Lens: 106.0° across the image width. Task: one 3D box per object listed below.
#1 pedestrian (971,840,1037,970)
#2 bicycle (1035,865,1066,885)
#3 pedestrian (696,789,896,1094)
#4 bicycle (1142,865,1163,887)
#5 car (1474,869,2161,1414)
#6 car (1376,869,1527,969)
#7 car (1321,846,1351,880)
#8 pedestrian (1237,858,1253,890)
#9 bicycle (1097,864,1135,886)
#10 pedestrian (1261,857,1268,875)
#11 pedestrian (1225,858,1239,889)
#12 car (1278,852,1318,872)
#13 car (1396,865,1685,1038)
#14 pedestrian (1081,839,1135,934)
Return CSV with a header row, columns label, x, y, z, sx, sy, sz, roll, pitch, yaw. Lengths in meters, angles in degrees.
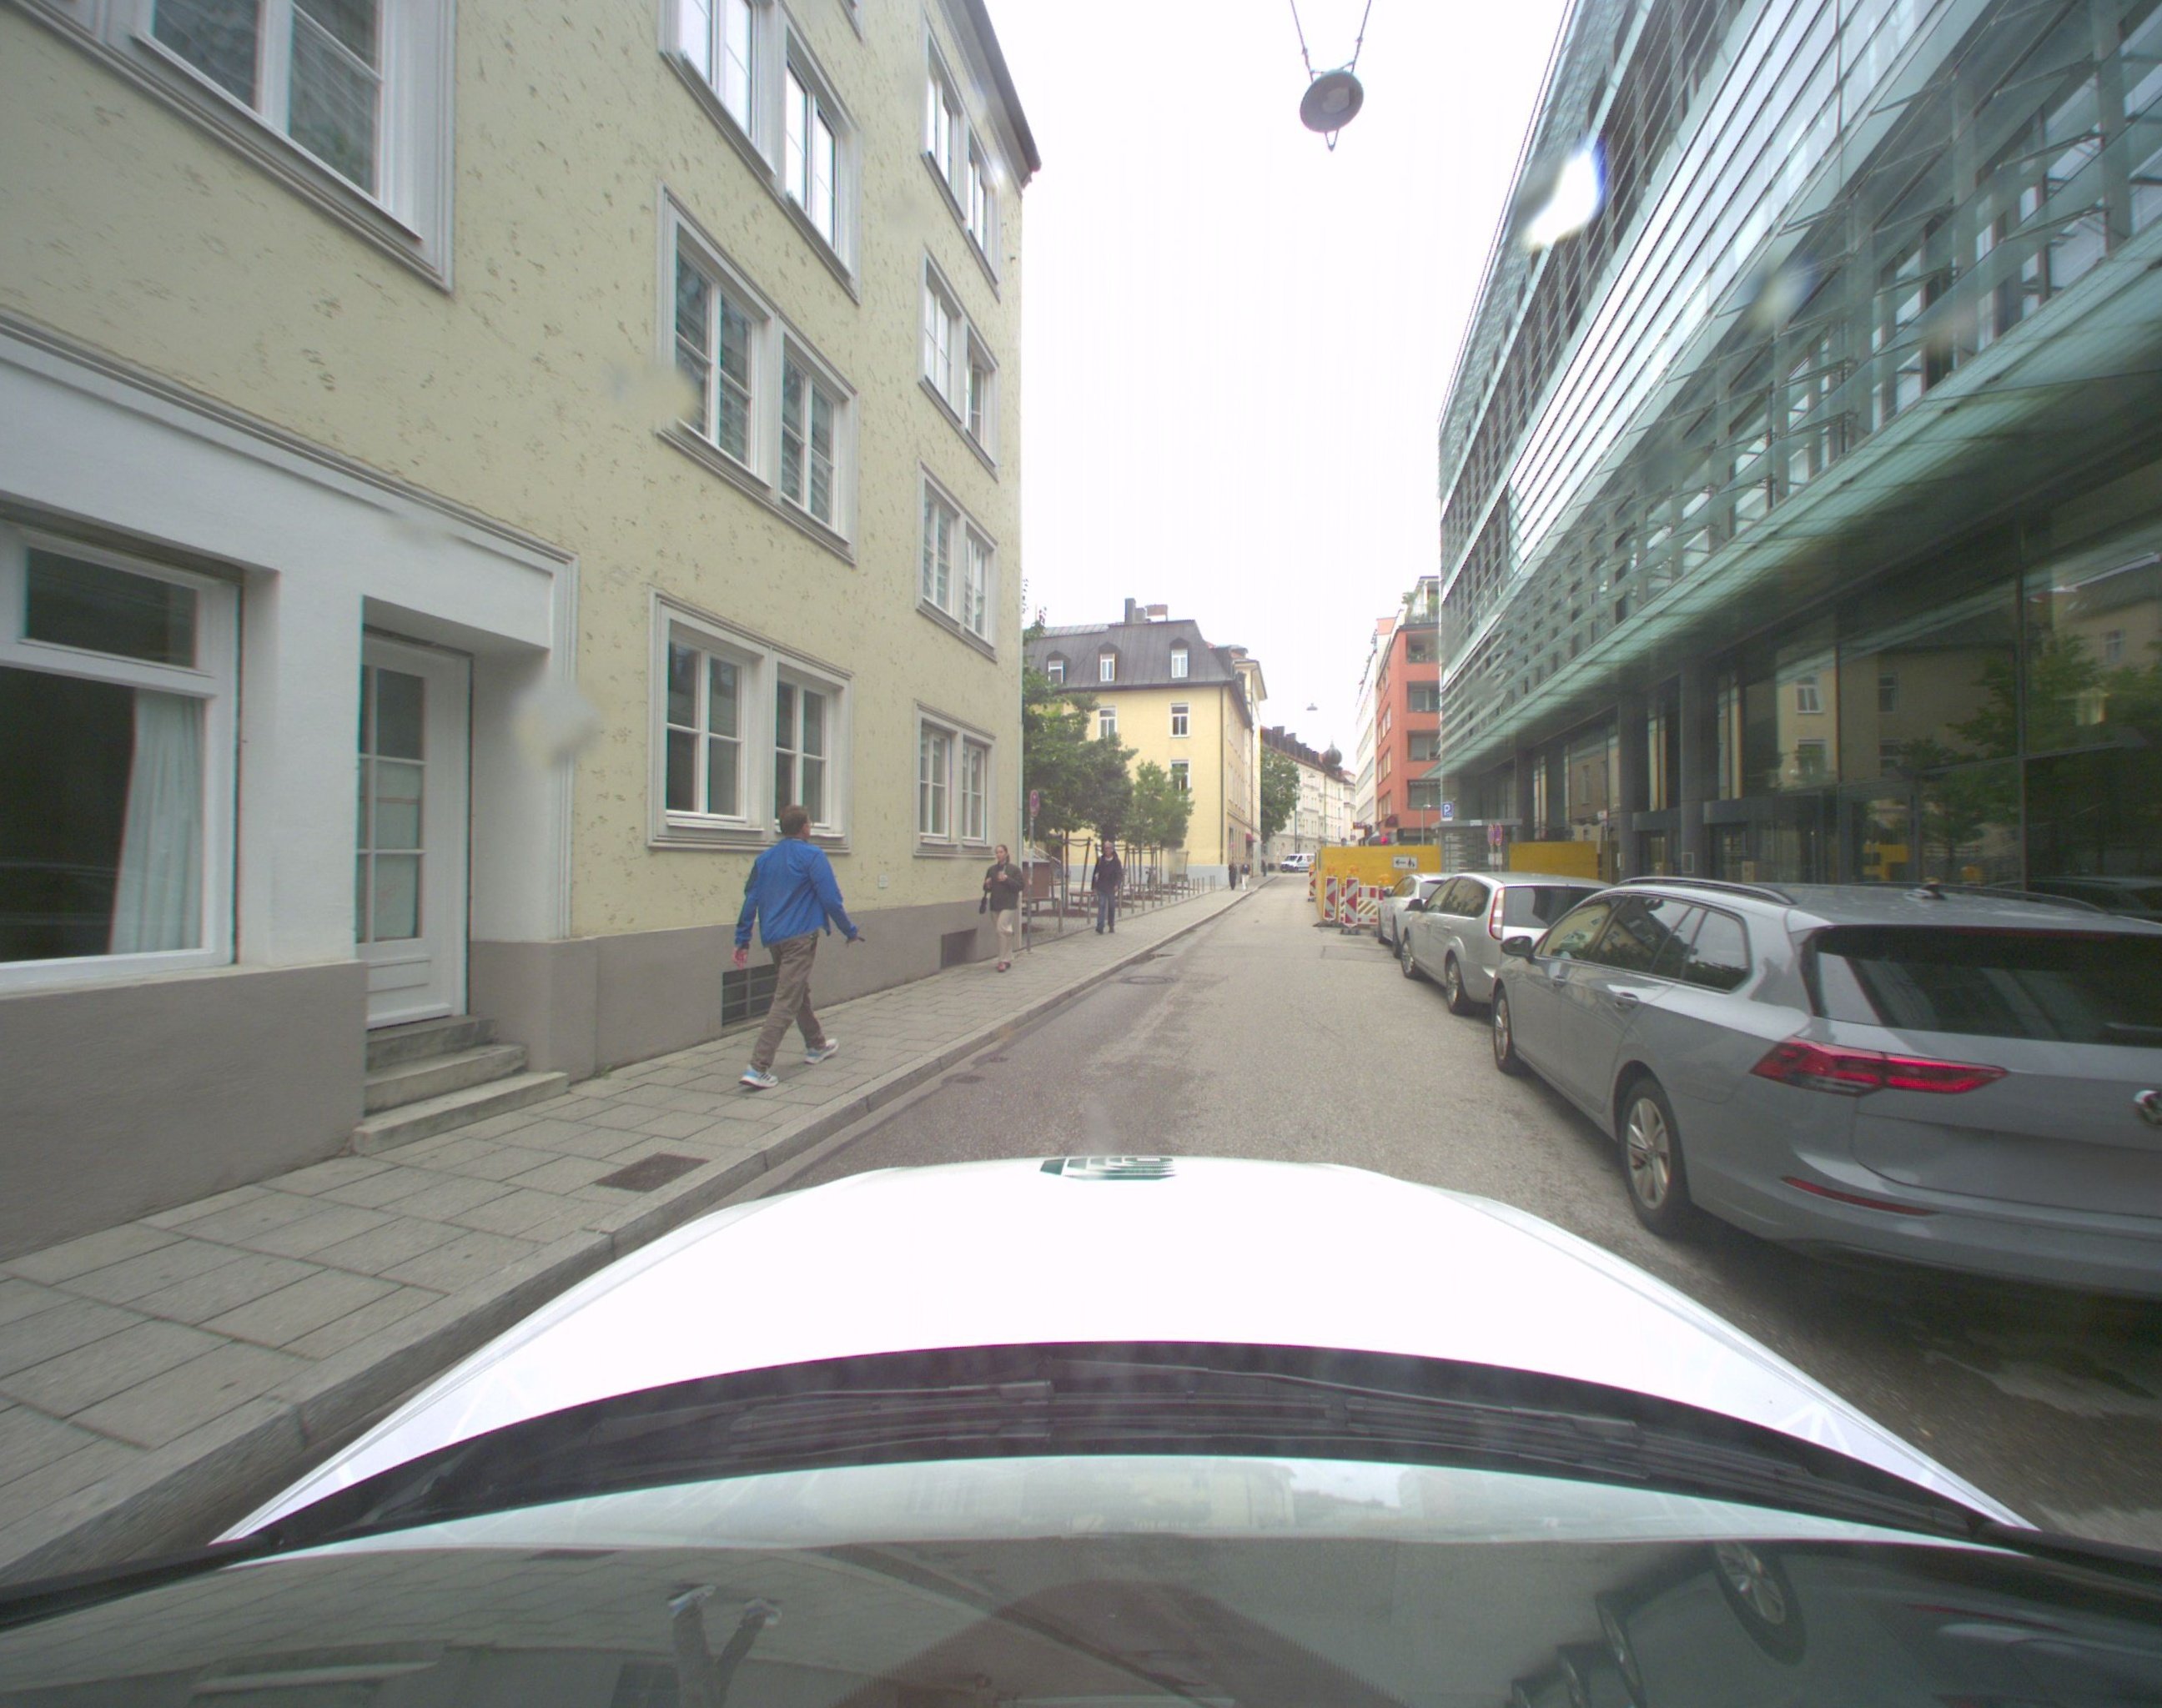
label,x,y,z,sx,sy,sz,roll,pitch,yaw
pedestrian,-1.027,0.661,10.968,0.642,1.676,0.726,1,-1,14
bicycle,-1.721,1.199,46.384,1.642,1.069,0.600,1,-1,19
pedestrian,-1.896,0.528,5.565,0.751,1.854,1.081,1,-1,15
bicycle,3.804,1.154,43.124,0.505,1.144,2.063,1,0,23
car,3.451,0.808,4.289,1.695,1.432,4.346,0,-1,15
car,6.323,0.995,14.384,1.695,1.414,4.527,2,-1,15
car,20.261,0.719,64.841,1.979,2.537,4.994,1,0,15
pedestrian,9.000,1.081,44.663,0.833,1.700,0.806,1,-1,15
bicycle,1.948,1.149,45.696,2.025,1.198,0.573,1,-1,22
pedestrian,17.578,1.164,77.972,0.513,1.675,0.637,1,-1,4
pedestrian,8.335,1.073,45.013,0.665,1.648,0.764,1,-1,14
car,26.173,0.985,98.295,5.016,2.398,1.978,1,-1,-37
car,4.911,0.886,9.404,1.696,1.467,4.251,2,-1,12
pedestrian,0.577,0.652,16.930,0.861,1.881,1.139,1,-1,14
